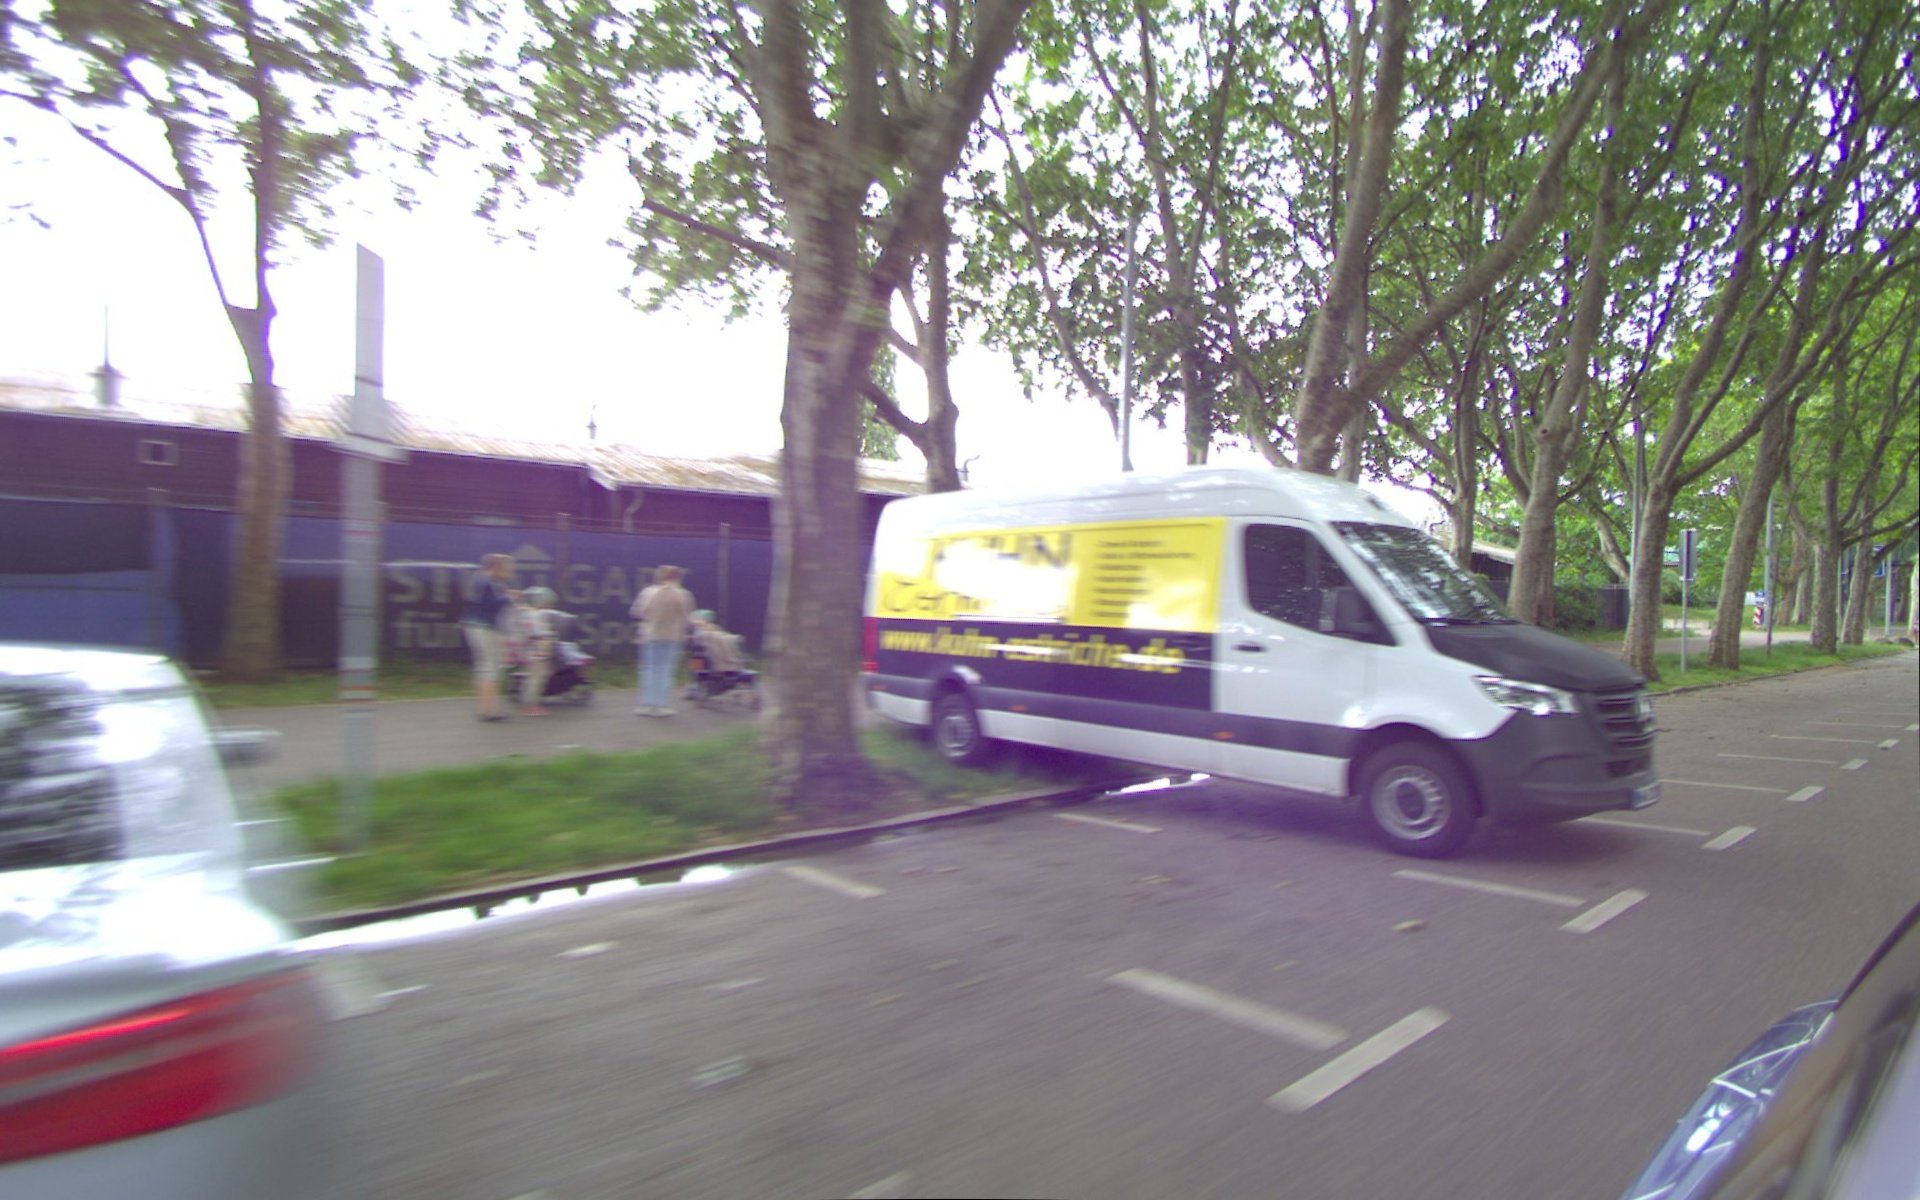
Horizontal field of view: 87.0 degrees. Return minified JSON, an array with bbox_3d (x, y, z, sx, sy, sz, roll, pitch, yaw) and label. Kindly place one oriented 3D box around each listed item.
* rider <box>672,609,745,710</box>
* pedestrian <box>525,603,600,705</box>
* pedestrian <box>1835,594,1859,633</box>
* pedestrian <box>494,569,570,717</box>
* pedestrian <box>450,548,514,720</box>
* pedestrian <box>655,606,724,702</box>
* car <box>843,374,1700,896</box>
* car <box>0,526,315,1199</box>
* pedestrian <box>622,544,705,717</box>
[{"bbox_3d":[-2.827,0.652,11.372,0.577,1.061,0.594,2,2,-37],"label":"rider"},{"bbox_3d":[-4.433,0.590,11.275,0.583,1.061,0.588,1,2,-41],"label":"pedestrian"},{"bbox_3d":[46.774,0.688,53.356,0.864,2.039,0.712,1,-1,-32],"label":"pedestrian"},{"bbox_3d":[-4.425,0.424,10.463,0.557,1.459,0.519,2,2,-39],"label":"pedestrian"},{"bbox_3d":[-4.795,0.324,10.153,0.422,1.665,0.519,2,2,-39],"label":"pedestrian"},{"bbox_3d":[-3.206,0.628,11.986,0.577,1.061,0.594,2,2,-37],"label":"pedestrian"},{"bbox_3d":[1.844,0.164,8.580,2.090,2.729,6.891,1,0,-41],"label":"car"},{"bbox_3d":[-2.788,0.734,2.622,1.582,1.464,4.370,0,-3,-36],"label":"car"},{"bbox_3d":[-3.168,0.305,10.802,0.609,1.762,0.641,2,2,-37],"label":"pedestrian"}]
